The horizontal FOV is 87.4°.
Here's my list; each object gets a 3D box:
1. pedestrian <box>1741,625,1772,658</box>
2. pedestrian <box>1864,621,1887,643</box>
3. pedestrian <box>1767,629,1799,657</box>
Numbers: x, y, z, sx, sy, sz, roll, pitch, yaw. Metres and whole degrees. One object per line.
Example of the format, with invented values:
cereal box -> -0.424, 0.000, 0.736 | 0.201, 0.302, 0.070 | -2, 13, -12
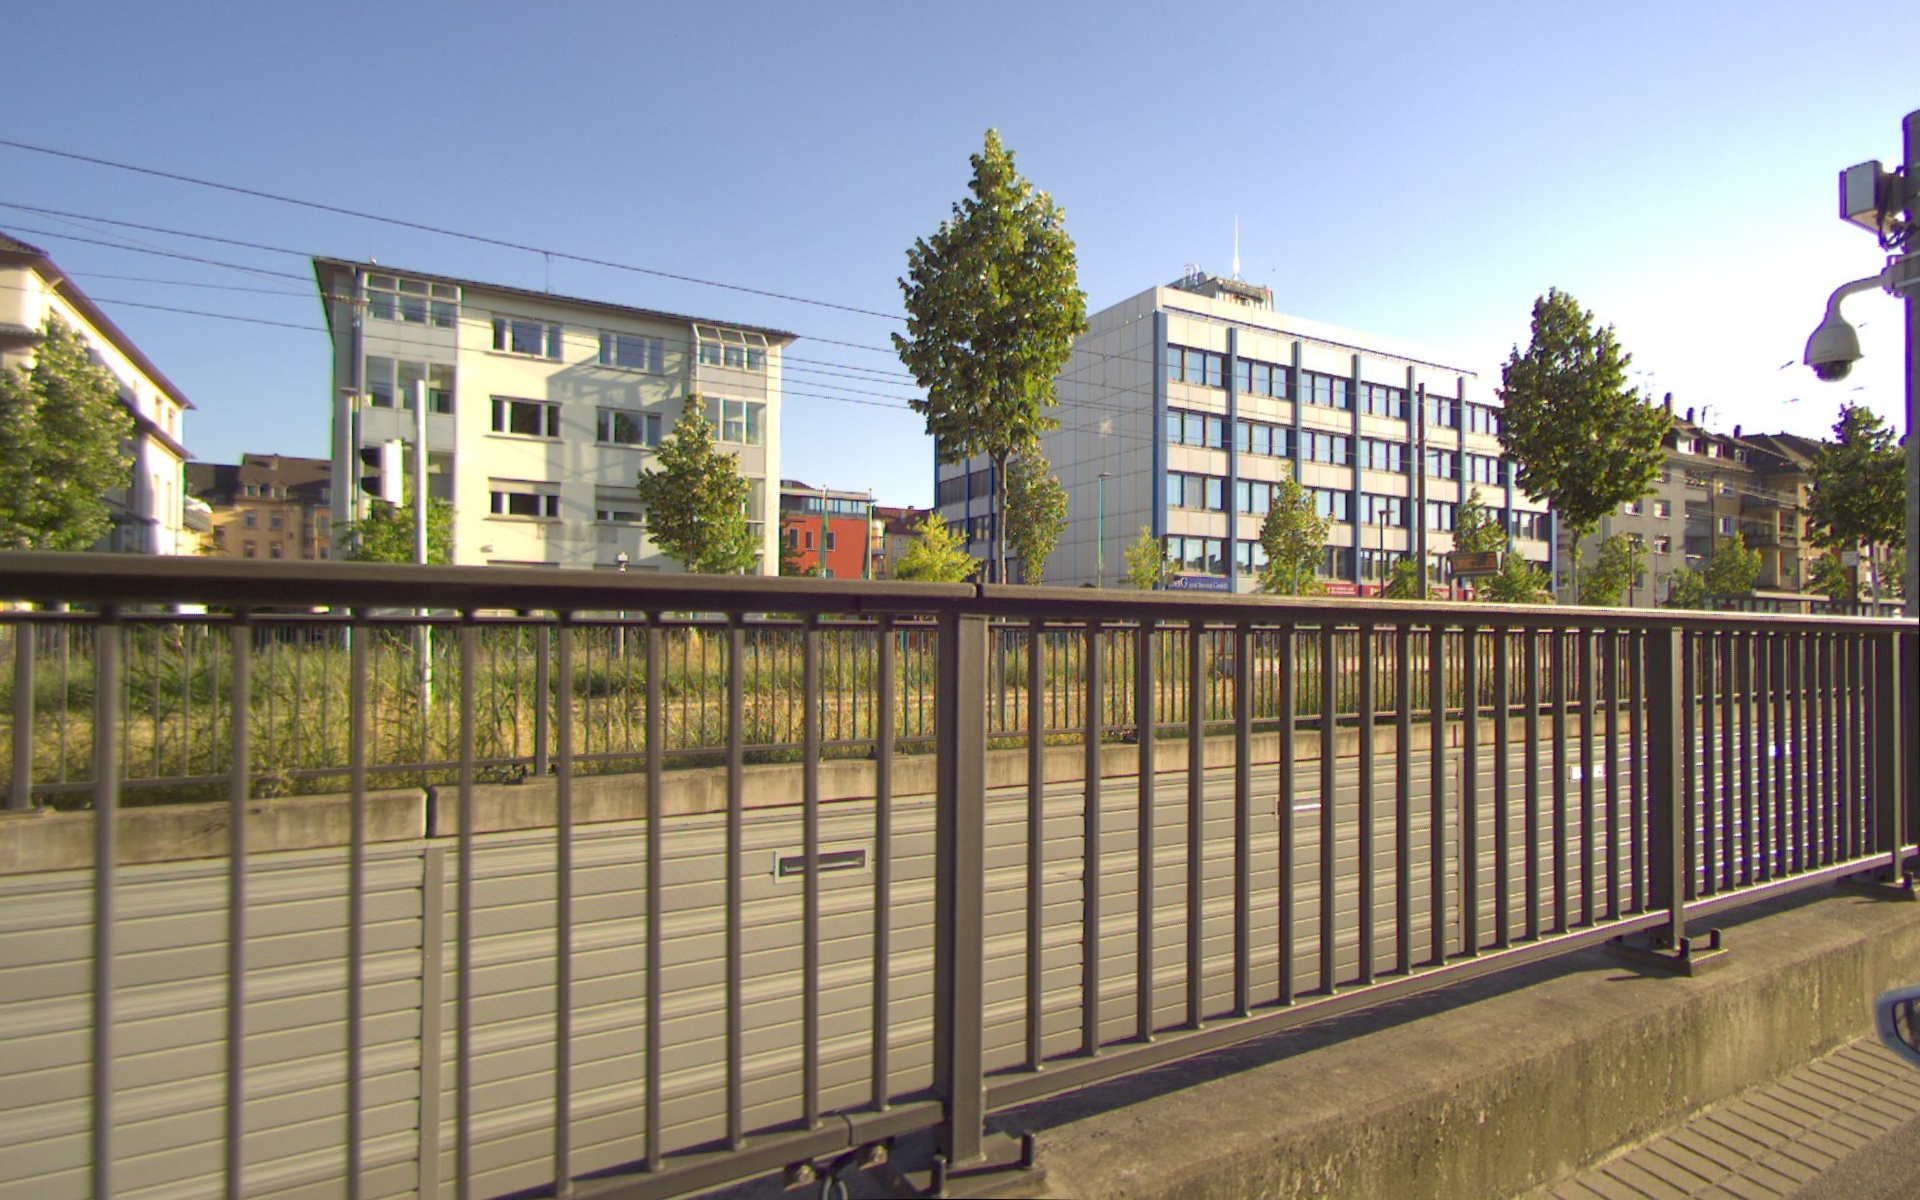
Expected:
pedestrian -> 34.884, 1.805, 44.002 | 0.794, 1.429, 0.834 | 1, -2, -30
pedestrian -> 45.534, 1.584, 49.953 | 0.785, 1.061, 0.624 | 1, -2, -30
pedestrian -> 37.088, 1.931, 45.264 | 0.755, 1.213, 0.929 | 1, -2, -30
